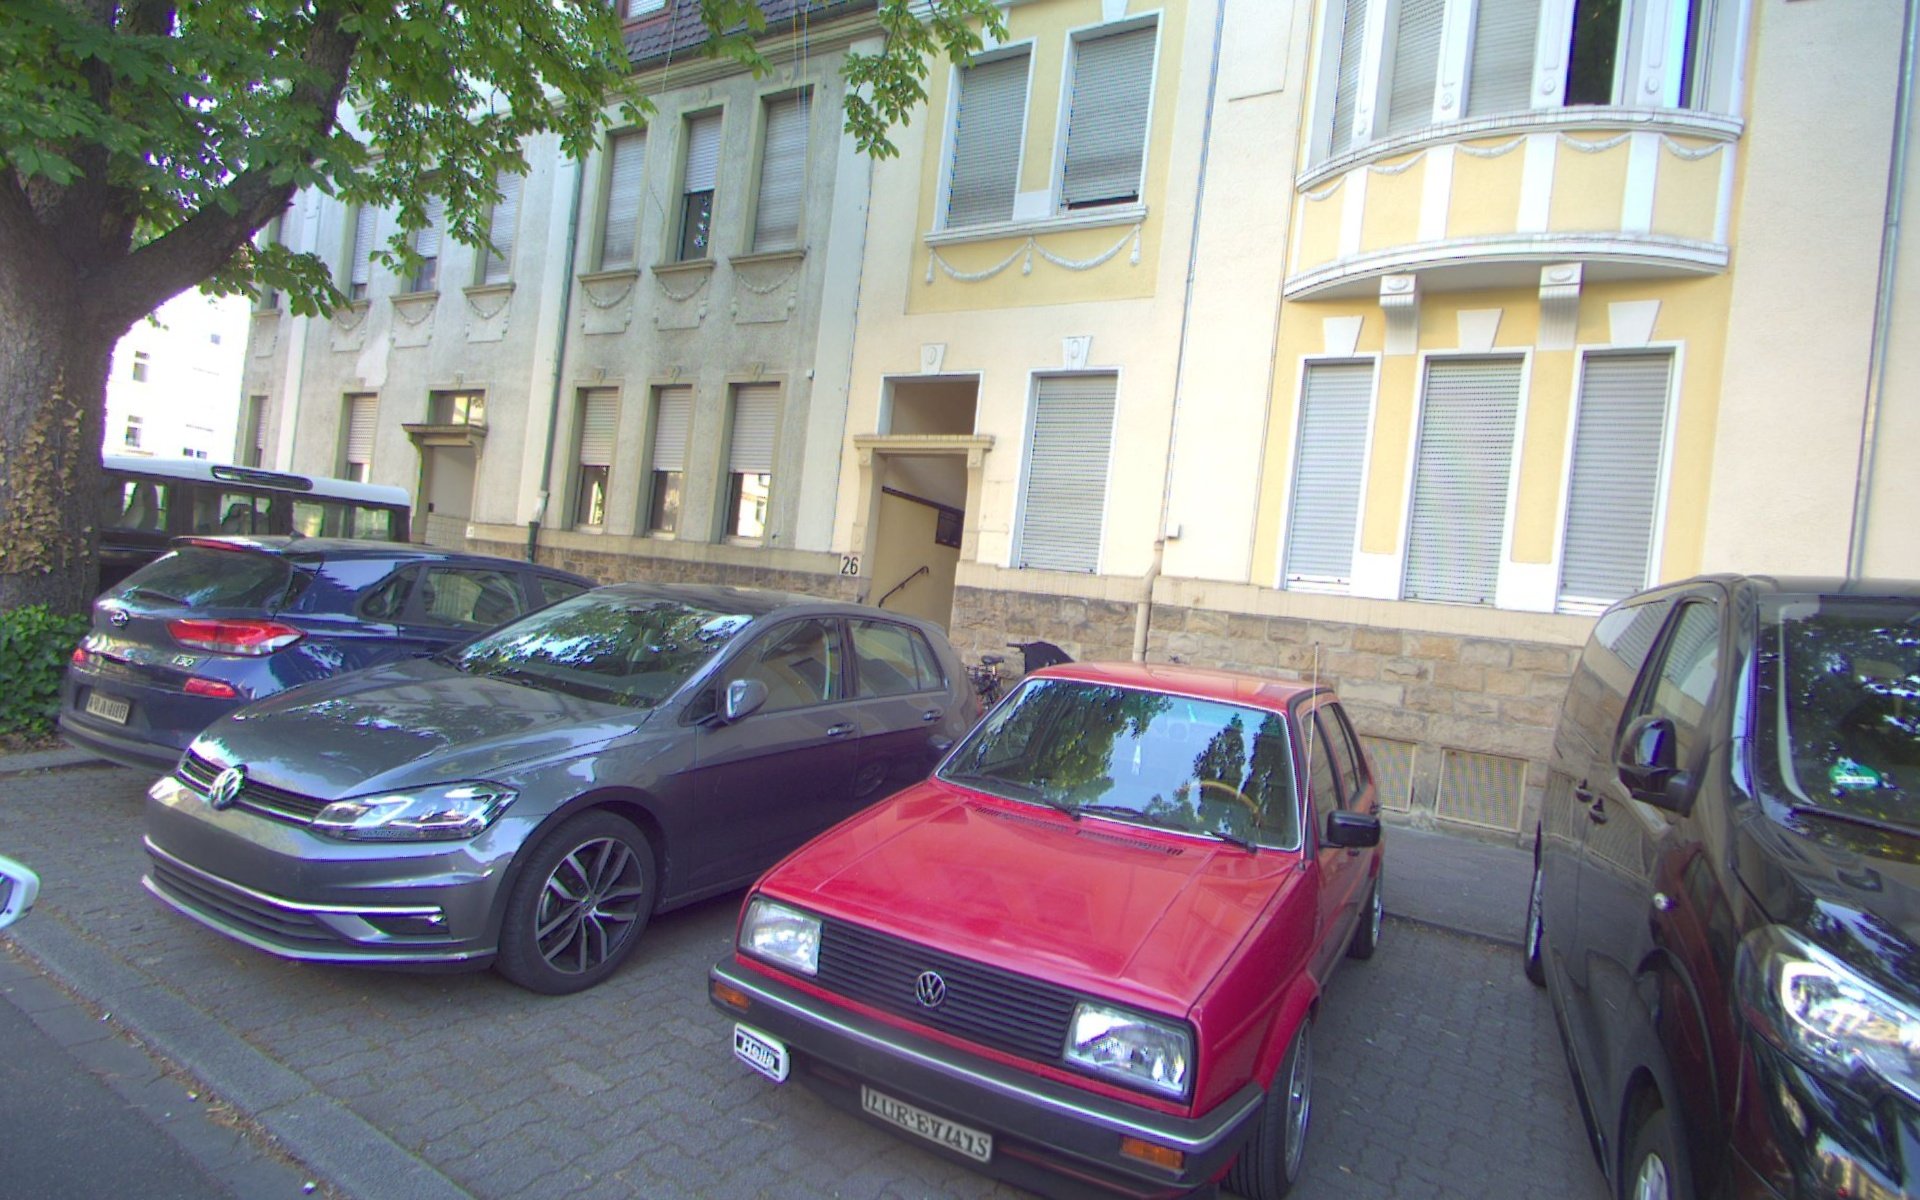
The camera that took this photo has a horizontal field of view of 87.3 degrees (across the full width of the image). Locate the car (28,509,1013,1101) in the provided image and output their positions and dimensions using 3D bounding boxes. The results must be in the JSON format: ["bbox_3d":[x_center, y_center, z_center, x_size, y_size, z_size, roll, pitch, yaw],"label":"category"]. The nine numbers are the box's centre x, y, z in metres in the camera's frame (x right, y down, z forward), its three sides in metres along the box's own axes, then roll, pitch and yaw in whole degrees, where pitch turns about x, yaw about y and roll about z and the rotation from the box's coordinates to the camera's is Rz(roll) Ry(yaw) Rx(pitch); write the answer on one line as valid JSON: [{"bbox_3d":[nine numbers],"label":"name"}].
[{"bbox_3d":[-1.435,0.620,4.819,1.693,1.470,4.060,6,0,28],"label":"car"}]

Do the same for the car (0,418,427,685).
[{"bbox_3d":[-7.595,-0.371,9.239,1.671,2.061,4.473,6,0,28],"label":"car"}]

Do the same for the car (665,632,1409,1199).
[{"bbox_3d":[0.872,0.945,4.307,1.601,1.332,4.144,6,0,27],"label":"car"}]

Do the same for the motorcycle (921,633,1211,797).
[{"bbox_3d":[0.953,0.993,9.398,2.439,1.087,0.959,7,2,32],"label":"motorcycle"}]

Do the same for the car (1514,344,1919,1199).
[{"bbox_3d":[2.849,0.869,2.880,1.864,1.898,4.759,6,0,27],"label":"car"}]

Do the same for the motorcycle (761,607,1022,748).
[{"bbox_3d":[-0.792,0.772,10.787,2.822,1.087,0.694,7,2,31],"label":"motorcycle"}]

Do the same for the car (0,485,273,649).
[{"bbox_3d":[-9.990,-0.389,10.940,1.679,1.589,3.730,6,0,28],"label":"car"}]

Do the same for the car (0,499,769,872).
[{"bbox_3d":[-3.088,0.423,6.202,1.679,1.470,3.730,6,0,28],"label":"car"}]
